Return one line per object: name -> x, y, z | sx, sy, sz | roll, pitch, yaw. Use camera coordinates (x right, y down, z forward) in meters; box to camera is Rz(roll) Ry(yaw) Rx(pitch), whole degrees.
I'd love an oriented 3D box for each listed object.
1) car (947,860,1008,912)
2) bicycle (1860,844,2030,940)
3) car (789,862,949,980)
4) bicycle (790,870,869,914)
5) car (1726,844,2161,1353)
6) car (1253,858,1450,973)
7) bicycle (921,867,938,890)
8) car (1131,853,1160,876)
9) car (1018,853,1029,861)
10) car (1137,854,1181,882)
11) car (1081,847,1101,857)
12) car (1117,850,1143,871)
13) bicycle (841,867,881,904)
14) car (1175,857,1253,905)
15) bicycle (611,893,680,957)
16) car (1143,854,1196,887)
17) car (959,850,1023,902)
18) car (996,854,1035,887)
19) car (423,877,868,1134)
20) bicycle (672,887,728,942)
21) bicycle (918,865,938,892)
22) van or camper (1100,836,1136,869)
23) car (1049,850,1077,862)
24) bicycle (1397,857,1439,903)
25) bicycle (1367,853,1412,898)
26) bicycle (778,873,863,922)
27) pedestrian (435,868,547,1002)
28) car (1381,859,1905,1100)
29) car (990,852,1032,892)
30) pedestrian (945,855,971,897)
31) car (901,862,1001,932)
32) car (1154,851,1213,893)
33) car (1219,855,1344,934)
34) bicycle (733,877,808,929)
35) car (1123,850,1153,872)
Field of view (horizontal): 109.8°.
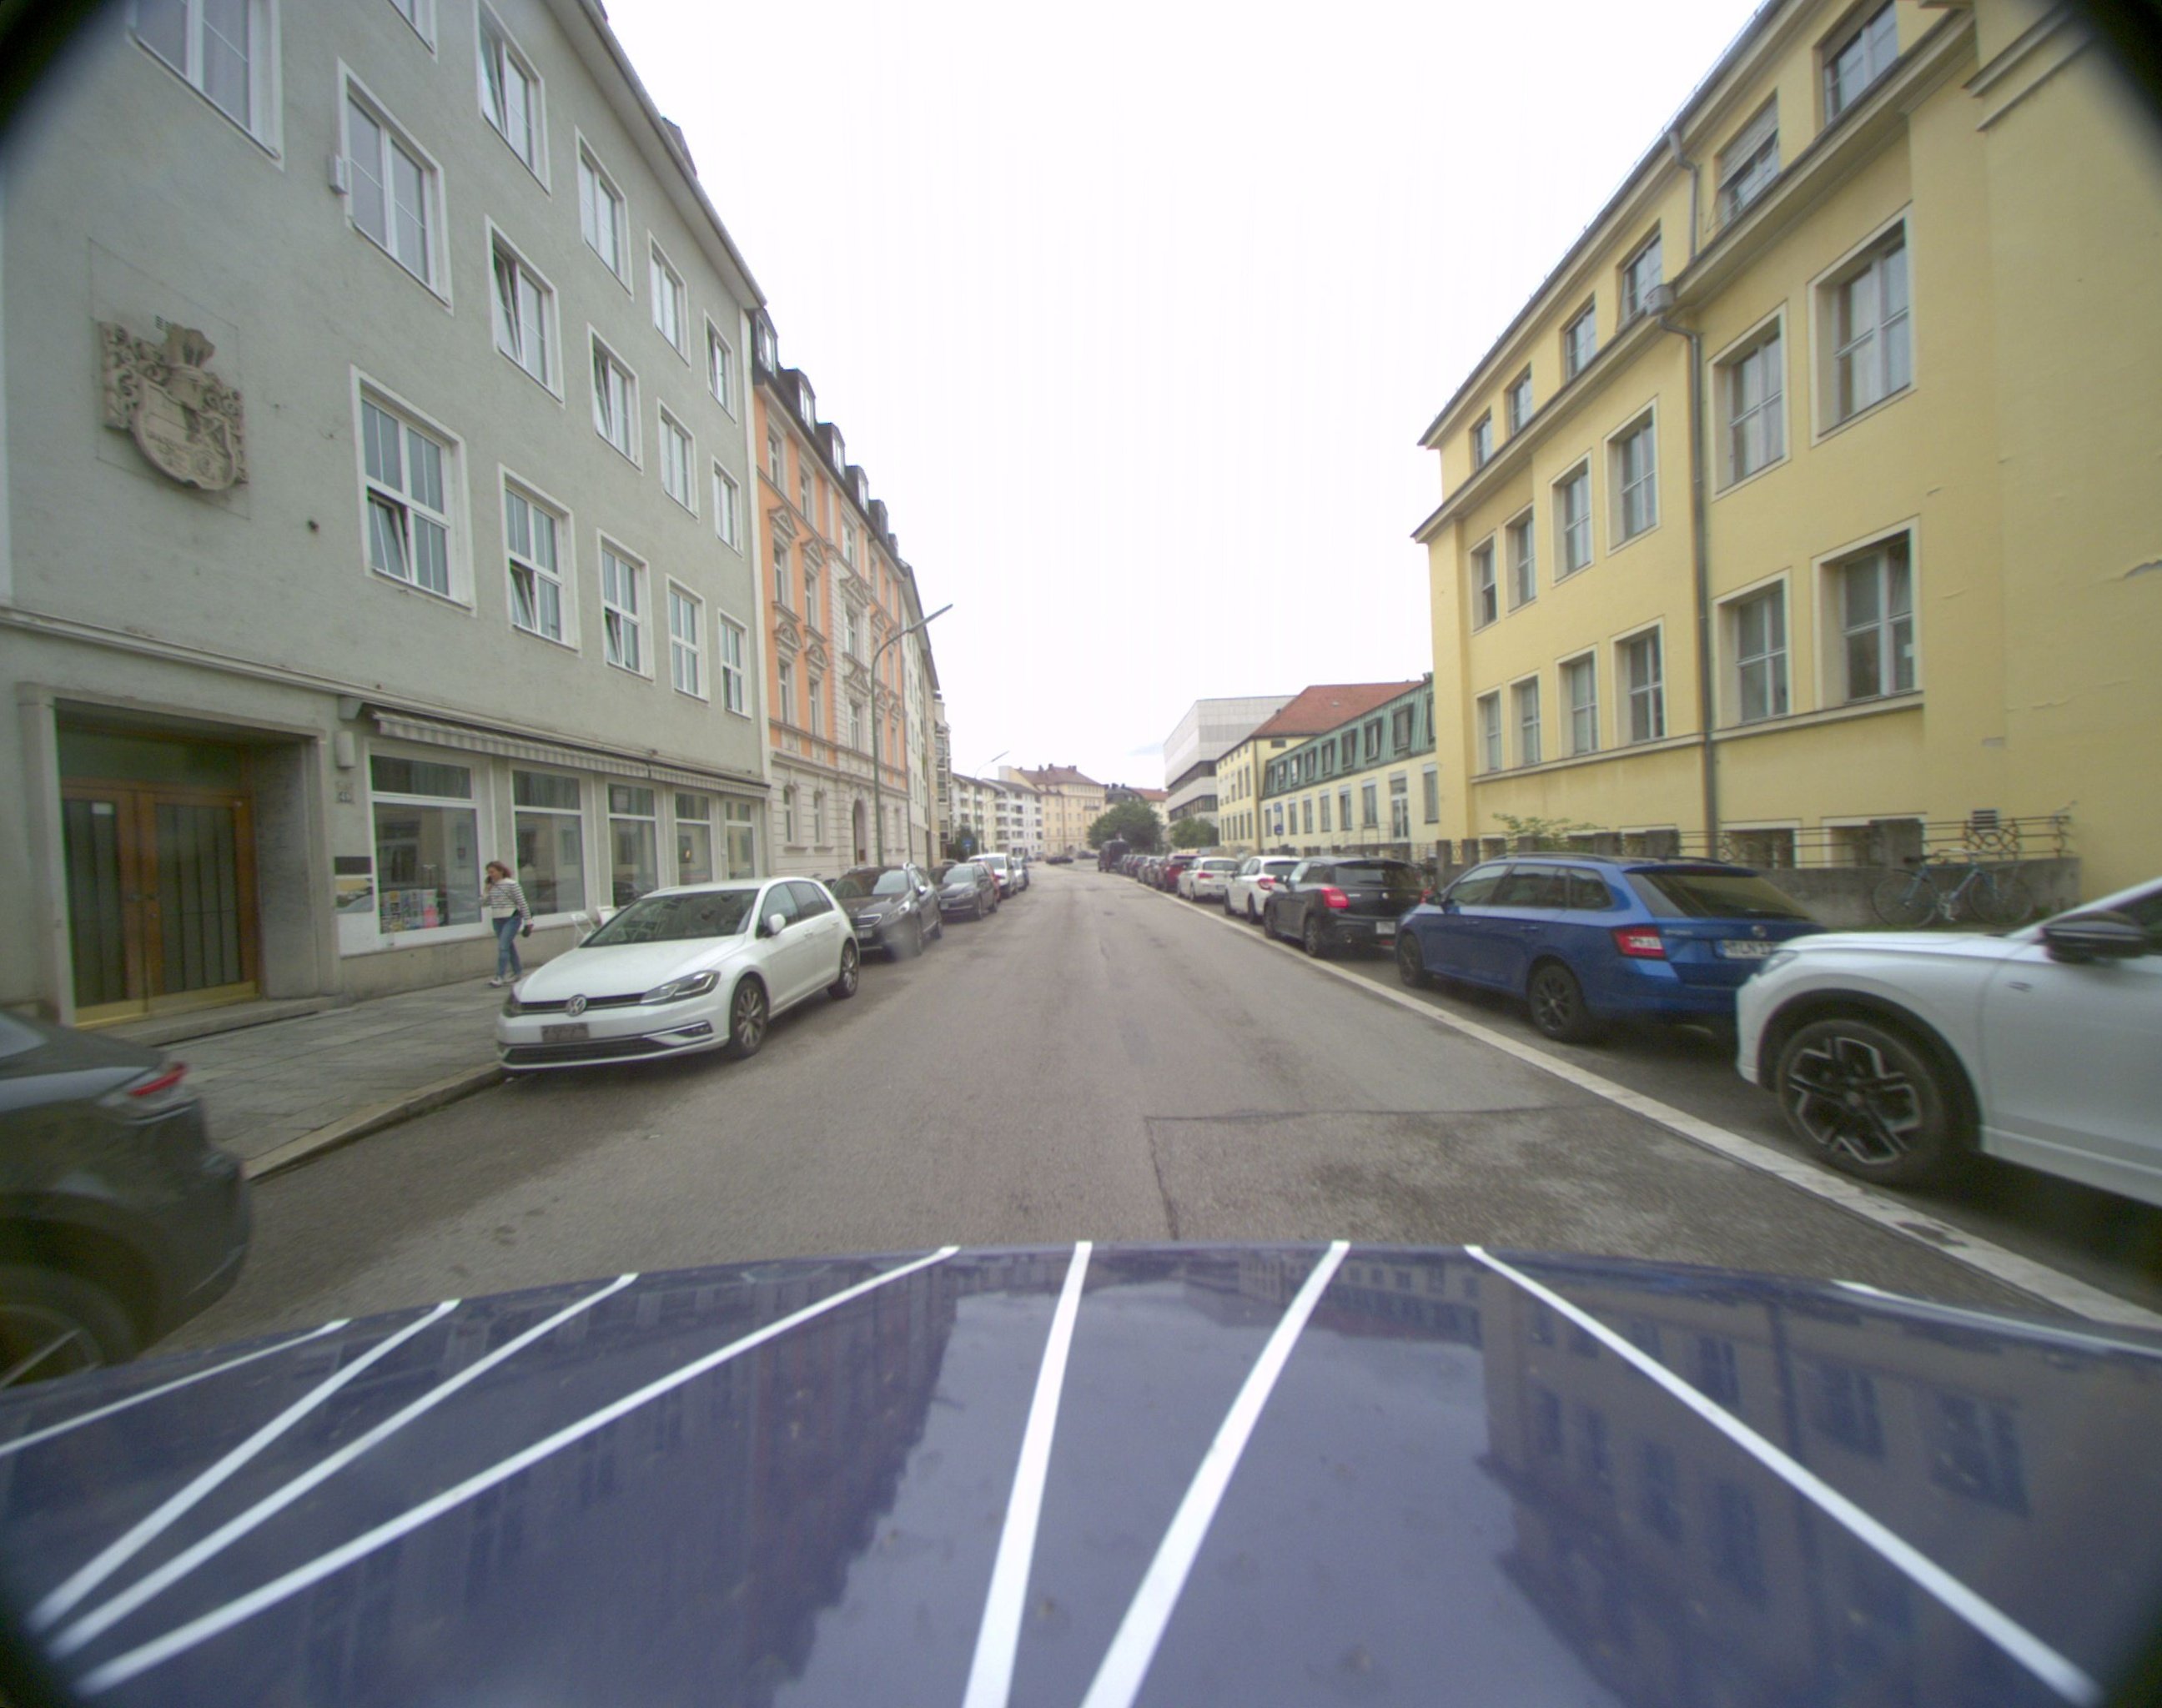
car -> -3.423, 1.003, 25.724 | 1.603, 1.443, 4.300 | -5, 1, -3
bicycle -> 10.550, 0.451, 9.294 | 1.561, 1.045, 0.439 | -4, 1, -1
car -> -3.520, 1.022, 13.425 | 1.697, 1.574, 4.082 | -5, 1, -2
bicycle -> -7.168, 1.066, 21.752 | 0.607, 1.176, 2.100 | -1, -1, 43
car -> 4.336, 0.800, 1.832 | 1.684, 1.624, 4.355 | 1, 0, -3
car -> 4.053, 0.833, 12.098 | 1.684, 1.487, 3.985 | 0, 0, 0
bicycle -> -7.933, 1.274, 39.934 | 0.669, 1.115, 1.651 | -3, 1, -7
car -> 4.276, 0.674, 50.870 | 1.699, 1.397, 4.000 | 1, 0, 2
car -> -11.575, 0.668, 152.090 | 1.756, 1.445, 3.570 | -3, 0, 2
car -> 4.089, 0.702, 40.431 | 1.798, 1.397, 4.126 | 1, 0, -2
car -> 2.080, -0.436, 158.232 | 3.997, 1.849, 2.000 | -1, 1, 0
car -> 3.821, 0.508, 60.048 | 1.642, 1.553, 3.837 | 1, 0, -2
bicycle -> -7.406, 1.037, 25.621 | 0.652, 1.176, 2.096 | -1, -1, 2
car -> 4.260, 0.811, 24.852 | 1.679, 1.390, 3.996 | 1, 0, -2
bicycle -> -7.873, 1.251, 13.790 | 0.331, 0.998, 1.521 | -2, 1, 0
car -> 4.043, 0.726, 35.211 | 1.680, 1.397, 3.989 | 1, 0, -4
car -> -3.553, 0.805, 30.825 | 1.845, 1.775, 4.894 | -5, 0, 0
car -> -3.514, 0.837, 41.571 | 1.745, 1.578, 4.200 | -4, 0, -1
car -> -3.529, 1.095, 7.205 | 1.696, 1.455, 4.083 | -5, 1, 1
bicycle -> -7.798, 1.210, 15.607 | 0.331, 0.998, 1.521 | -2, 1, 1
bicycle -> -6.957, 1.086, 34.525 | 0.669, 1.115, 1.954 | -3, 1, -7
van or camper -> 3.168, -0.135, 66.496 | 2.142, 2.791, 5.568 | -1, 0, -7
car -> -2.921, 0.362, 121.885 | 4.248, 1.849, 1.999 | -2, 1, -6
bicycle -> 8.618, 0.641, 19.486 | 0.587, 1.071, 1.718 | -4, 0, 12
bicycle -> 8.629, 0.579, 21.333 | 0.587, 1.191, 1.717 | -4, 0, 3
bicycle -> -7.106, 1.168, 20.829 | 0.607, 1.176, 2.099 | -1, 1, 45
pedestrian -> -7.521, 0.998, 9.730 | 0.736, 1.616, 0.828 | -1, 1, 1
car -> 4.421, 0.825, 6.891 | 1.684, 1.496, 3.972 | 0, 0, -2
car -> -3.286, 0.799, 36.163 | 1.608, 1.633, 3.630 | -4, 1, -1
pedestrian -> -4.990, 0.900, 30.805 | 0.863, 1.652, 0.647 | -2, 1, 0
car -> -3.267, 1.030, 19.890 | 1.696, 1.443, 4.083 | -5, 1, 2
car -> 4.020, 0.673, 30.343 | 1.679, 1.557, 3.996 | 1, 0, -2
car -> 4.395, 0.818, 17.296 | 1.727, 1.518, 4.086 | 1, 0, 0
bicycle -> -7.484, 1.155, 18.451 | 0.771, 1.068, 2.458 | -2, 0, 0
car -> 4.146, 0.492, 55.703 | 1.700, 1.553, 3.866 | 1, 0, -2
